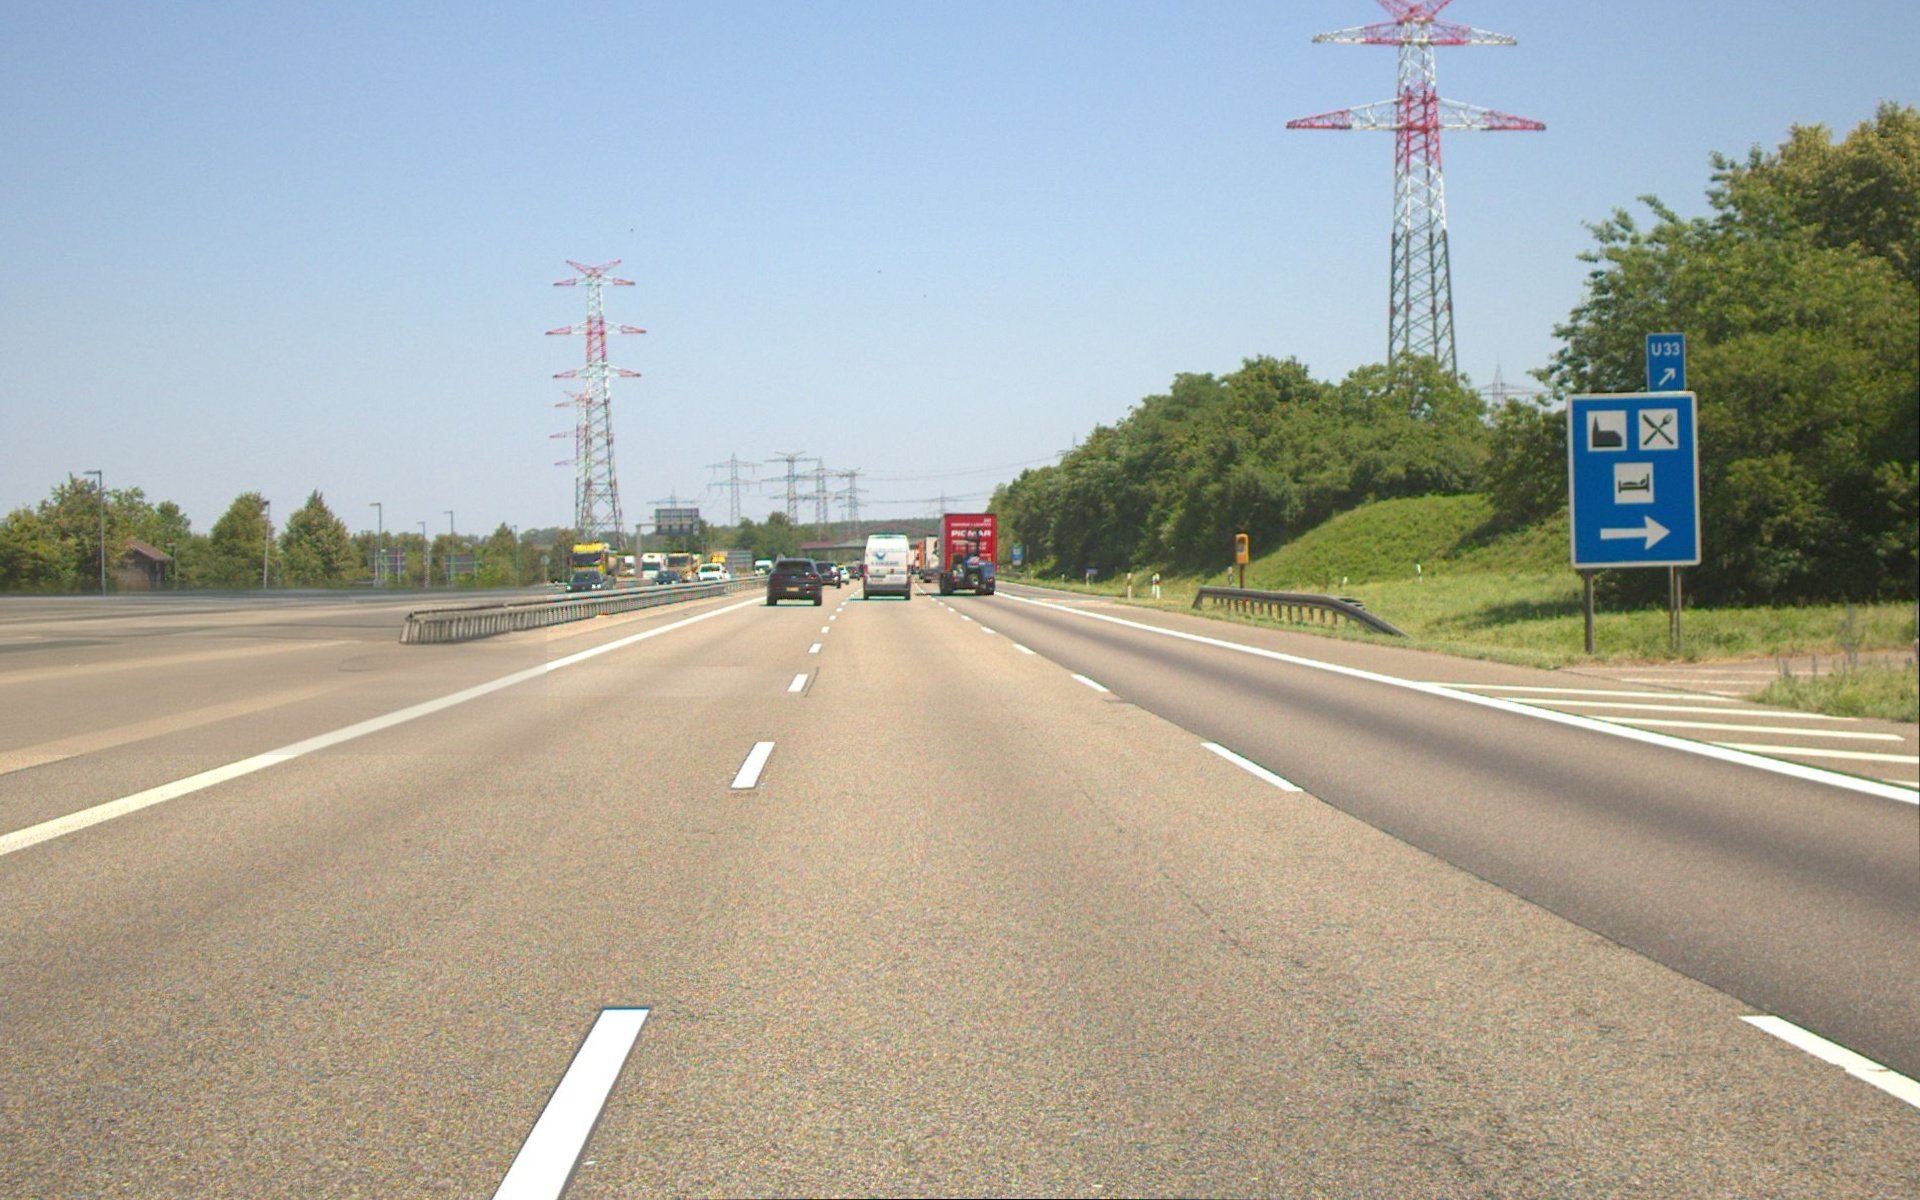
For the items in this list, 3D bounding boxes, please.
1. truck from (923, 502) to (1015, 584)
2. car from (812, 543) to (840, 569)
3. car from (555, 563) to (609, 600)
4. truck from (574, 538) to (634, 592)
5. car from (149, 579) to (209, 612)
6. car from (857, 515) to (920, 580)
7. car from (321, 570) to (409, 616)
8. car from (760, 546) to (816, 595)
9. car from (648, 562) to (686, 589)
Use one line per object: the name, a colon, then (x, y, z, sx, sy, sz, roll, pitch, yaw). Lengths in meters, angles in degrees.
truck: (0.362, -2.914, 175.259, 4.331, 3.928, 16.078, 0, 1, -1)
car: (-8.515, -2.816, 218.493, 1.747, 1.628, 4.004, 0, 1, -2)
car: (-17.558, -0.888, 159.979, 2.052, 1.546, 4.891, -3, 1, -2)
truck: (-26.220, -2.611, 253.770, 3.171, 3.797, 13.531, -1, 1, -1)
car: (-40.619, -0.245, 178.845, 2.052, 1.546, 4.891, -3, 1, -2)
car: (-3.108, -2.285, 148.721, 2.621, 2.749, 6.097, 0, 1, -2)
car: (-20.327, -0.258, 117.582, 2.227, 1.375, 4.891, -3, 1, -2)
car: (-6.290, -1.113, 126.093, 1.993, 1.744, 4.000, 0, 1, -2)
car: (-18.659, -1.585, 219.257, 2.052, 1.546, 4.891, -3, 1, -2)
